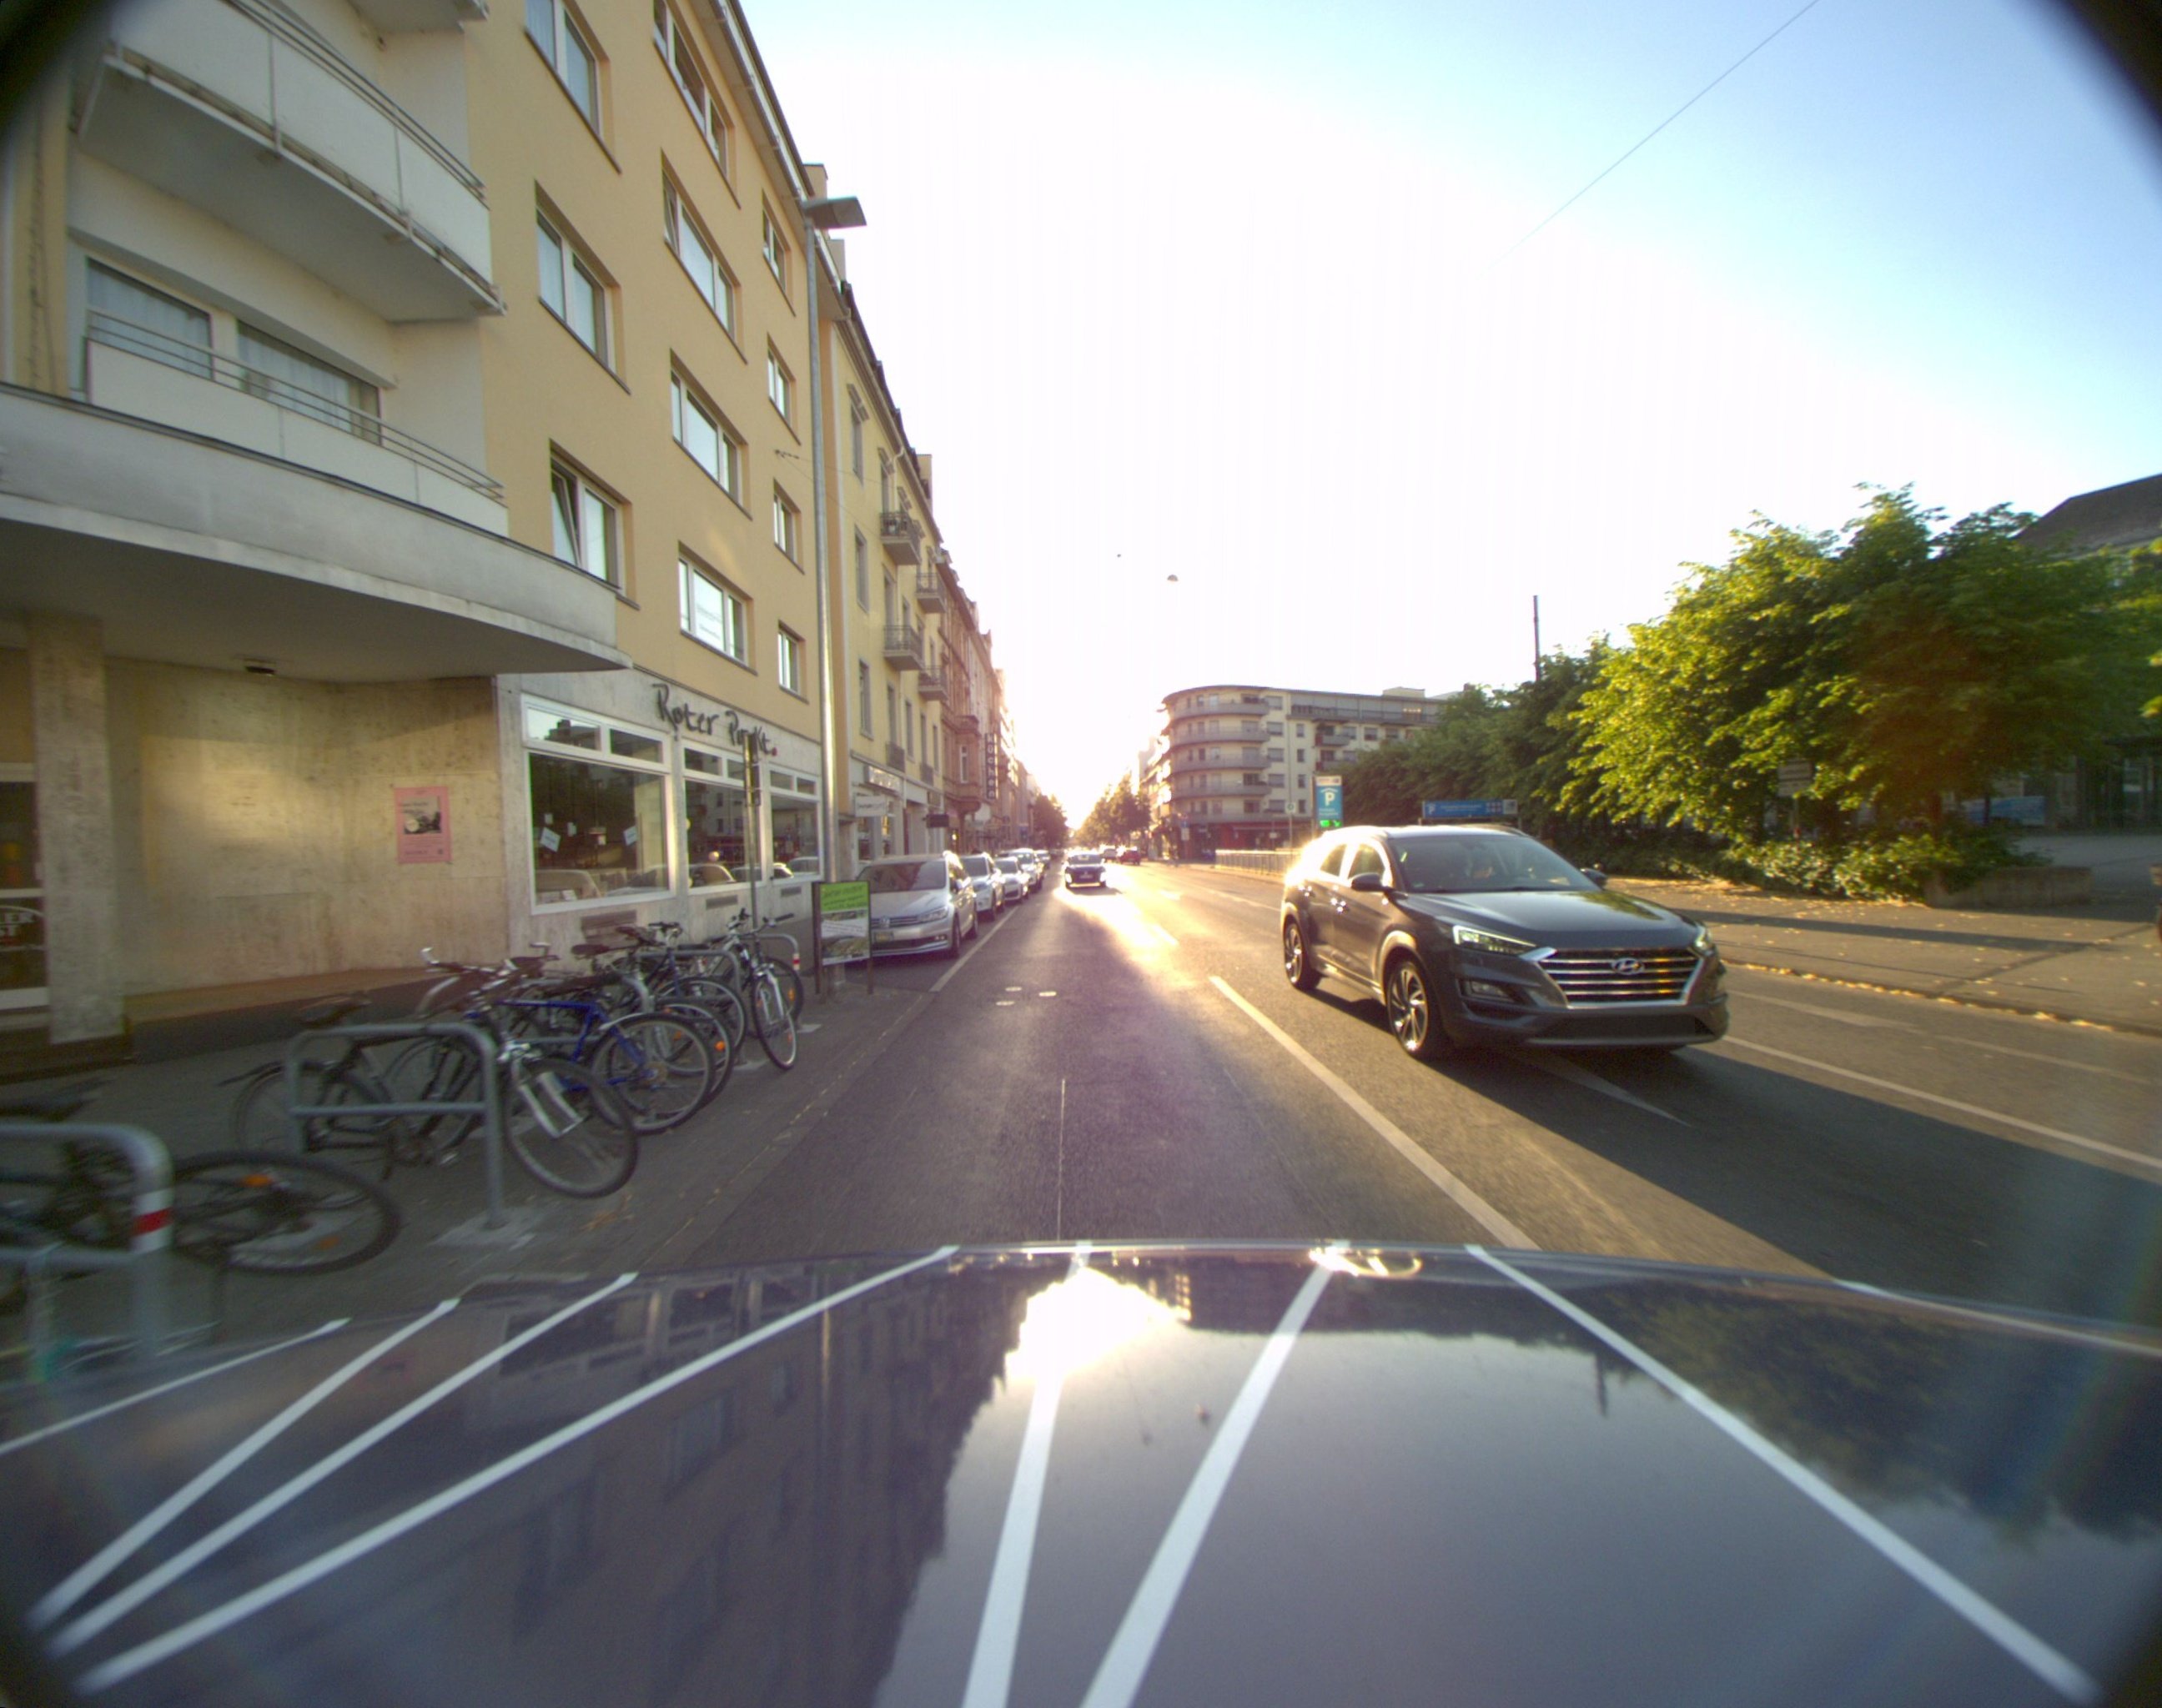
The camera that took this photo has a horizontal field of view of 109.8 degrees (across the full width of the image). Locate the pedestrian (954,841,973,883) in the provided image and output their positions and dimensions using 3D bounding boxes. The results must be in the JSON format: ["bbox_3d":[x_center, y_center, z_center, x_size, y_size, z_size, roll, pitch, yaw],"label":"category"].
[{"bbox_3d":[-5.678,0.389,36.810,0.673,2.002,0.851,-2,1,0],"label":"pedestrian"}]

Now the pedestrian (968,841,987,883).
[{"bbox_3d":[-5.076,0.381,37.365,0.763,2.002,0.851,-2,1,0],"label":"pedestrian"}]

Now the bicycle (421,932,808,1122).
[{"bbox_3d":[-3.186,1.168,5.417,2.176,1.069,0.805,-1,1,-7],"label":"bicycle"}]

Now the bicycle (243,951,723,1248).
[{"bbox_3d":[-2.861,1.146,3.835,1.788,1.166,0.621,-1,1,-12],"label":"bicycle"}]

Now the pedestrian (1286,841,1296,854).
[{"bbox_3d":[22.505,-0.727,81.380,0.731,1.315,0.890,-1,2,39],"label":"pedestrian"}]

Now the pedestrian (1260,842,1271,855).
[{"bbox_3d":[19.468,-0.610,80.187,0.733,1.315,0.887,-3,1,-15],"label":"pedestrian"}]

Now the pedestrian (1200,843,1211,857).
[{"bbox_3d":[12.722,-0.407,77.675,0.890,1.315,0.731,-3,1,-27],"label":"pedestrian"}]

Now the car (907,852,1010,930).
[{"bbox_3d":[-2.908,0.821,18.950,1.821,1.611,4.202,-2,1,0],"label":"car"}]

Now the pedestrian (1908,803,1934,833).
[{"bbox_3d":[39.625,-1.711,35.839,0.520,1.368,0.654,-3,1,-15],"label":"pedestrian"}]

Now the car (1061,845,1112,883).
[{"bbox_3d":[0.162,0.370,32.385,1.908,1.438,4.448,-2,1,-2],"label":"car"}]

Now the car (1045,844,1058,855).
[{"bbox_3d":[-4.995,-0.782,129.656,1.999,1.806,3.996,-2,3,-4],"label":"car"}]

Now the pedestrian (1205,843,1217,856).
[{"bbox_3d":[13.171,-0.446,76.861,0.890,1.315,0.731,-3,1,-31],"label":"pedestrian"}]

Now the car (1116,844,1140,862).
[{"bbox_3d":[4.153,-0.125,67.615,1.790,1.458,3.955,-1,2,-2],"label":"car"}]

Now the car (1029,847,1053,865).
[{"bbox_3d":[-3.354,0.139,64.095,1.908,1.421,4.448,-2,1,-2],"label":"car"}]

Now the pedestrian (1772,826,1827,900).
[{"bbox_3d":[20.024,0.239,21.194,0.904,2.002,0.740,-2,1,27],"label":"pedestrian"}]

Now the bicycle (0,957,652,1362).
[{"bbox_3d":[-2.849,1.106,3.015,1.849,1.232,0.639,-2,1,-6],"label":"bicycle"}]

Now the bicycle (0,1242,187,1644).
[{"bbox_3d":[-2.844,1.400,1.448,1.008,0.677,1.049,-2,1,-10],"label":"bicycle"}]

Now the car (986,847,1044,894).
[{"bbox_3d":[-2.554,0.587,30.352,1.877,1.664,4.429,-2,1,0],"label":"car"}]

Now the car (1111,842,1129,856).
[{"bbox_3d":[5.288,-0.739,103.994,1.999,1.805,3.998,-2,1,-2],"label":"car"}]

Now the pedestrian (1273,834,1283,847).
[{"bbox_3d":[21.552,-1.468,83.219,0.731,1.315,0.890,-1,2,39],"label":"pedestrian"}]

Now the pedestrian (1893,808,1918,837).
[{"bbox_3d":[41.405,-1.578,38.169,0.520,1.368,0.654,-3,1,-15],"label":"pedestrian"}]

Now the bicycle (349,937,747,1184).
[{"bbox_3d":[-3.002,1.136,4.465,1.788,1.166,0.621,-1,1,-12],"label":"bicycle"}]

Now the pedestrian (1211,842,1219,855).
[{"bbox_3d":[13.918,-0.565,79.050,0.677,1.315,0.611,-2,1,-2],"label":"pedestrian"}]

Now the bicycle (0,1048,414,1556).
[{"bbox_3d":[-3.175,1.223,2.149,1.788,1.057,0.718,-1,1,-12],"label":"bicycle"}]

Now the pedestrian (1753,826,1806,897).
[{"bbox_3d":[20.085,0.217,21.870,0.904,2.002,0.740,-2,1,23],"label":"pedestrian"}]

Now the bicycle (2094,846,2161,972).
[{"bbox_3d":[12.043,0.527,8.052,2.031,1.245,0.548,-3,1,-4],"label":"bicycle"}]

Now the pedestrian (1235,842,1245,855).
[{"bbox_3d":[16.523,-0.604,78.823,0.732,1.315,0.888,-2,1,-3],"label":"pedestrian"}]

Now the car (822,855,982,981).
[{"bbox_3d":[-2.760,0.876,12.800,1.702,1.607,4.681,-2,1,-2],"label":"car"}]

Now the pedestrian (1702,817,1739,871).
[{"bbox_3d":[24.436,-0.378,29.028,0.907,2.002,0.738,-3,1,-23],"label":"pedestrian"}]

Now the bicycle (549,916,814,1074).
[{"bbox_3d":[-3.287,1.142,6.414,1.851,1.117,0.594,-1,2,-12],"label":"bicycle"}]

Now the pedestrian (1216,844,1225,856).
[{"bbox_3d":[14.264,-0.407,77.881,0.887,1.185,0.733,-2,1,9],"label":"pedestrian"}]

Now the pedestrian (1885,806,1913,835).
[{"bbox_3d":[39.829,-1.633,36.995,0.662,1.368,0.654,-4,2,-15],"label":"pedestrian"}]

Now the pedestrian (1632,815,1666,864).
[{"bbox_3d":[23.685,-0.594,31.688,0.907,2.002,0.738,-3,1,-23],"label":"pedestrian"}]

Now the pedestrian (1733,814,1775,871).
[{"bbox_3d":[24.656,-0.416,27.851,0.906,2.002,0.738,-3,1,-12],"label":"pedestrian"}]

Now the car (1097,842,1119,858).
[{"bbox_3d":[2.898,-0.420,82.269,1.878,1.621,4.176,0,0,-6],"label":"car"}]

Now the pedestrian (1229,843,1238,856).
[{"bbox_3d":[15.836,-0.452,78.868,0.732,1.315,0.888,-2,1,-1],"label":"pedestrian"}]

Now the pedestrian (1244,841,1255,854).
[{"bbox_3d":[17.540,-0.689,79.007,0.733,1.315,0.887,-3,1,-14],"label":"pedestrian"}]

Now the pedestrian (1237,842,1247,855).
[{"bbox_3d":[17.036,-0.609,80.313,0.688,1.315,0.819,-3,1,-24],"label":"pedestrian"}]

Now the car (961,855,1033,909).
[{"bbox_3d":[-2.614,0.825,24.505,1.738,1.449,4.609,-2,1,0],"label":"car"}]

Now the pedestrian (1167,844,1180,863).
[{"bbox_3d":[7.458,-0.028,61.265,0.678,1.509,0.676,-3,1,-43],"label":"pedestrian"}]

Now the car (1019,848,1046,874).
[{"bbox_3d":[-3.205,0.417,51.021,1.645,1.574,4.200,-2,1,-2],"label":"car"}]

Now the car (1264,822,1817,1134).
[{"bbox_3d":[3.089,0.656,6.418,1.877,1.680,4.448,-1,1,-2],"label":"car"}]

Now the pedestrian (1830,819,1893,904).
[{"bbox_3d":[19.059,0.179,18.564,0.764,2.002,0.739,-2,1,1],"label":"pedestrian"}]

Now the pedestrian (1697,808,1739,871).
[{"bbox_3d":[20.774,-0.471,24.793,0.904,2.002,0.740,-1,2,27],"label":"pedestrian"}]
